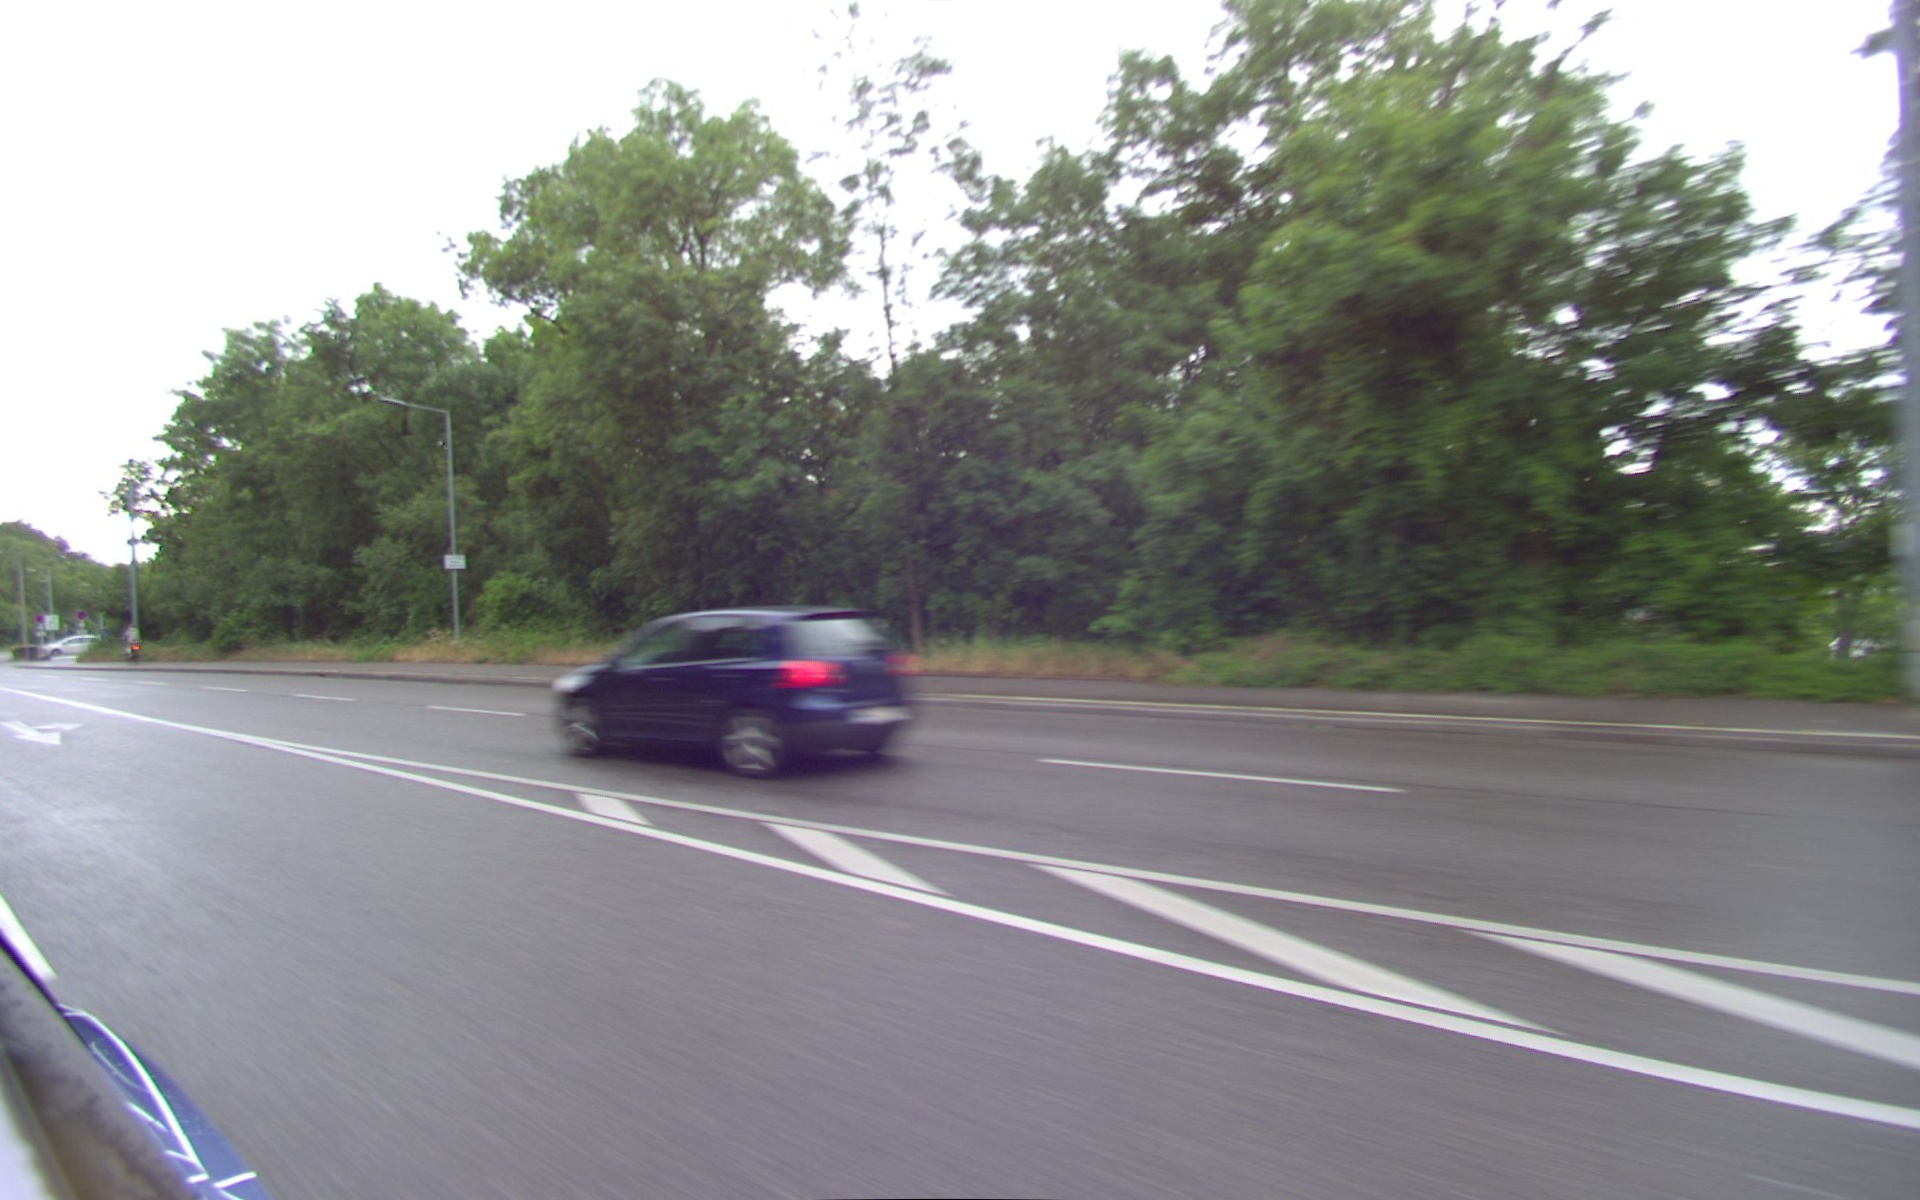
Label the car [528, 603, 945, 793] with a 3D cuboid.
[{"bbox_3d":[-2.289,0.829,9.875,4.071,1.438,1.685,-2,1,37],"label":"car"}]

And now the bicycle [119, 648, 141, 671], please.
[{"bbox_3d":[-37.176,2.663,45.302,2.017,1.011,0.447,-3,0,42],"label":"bicycle"}]

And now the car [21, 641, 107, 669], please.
[{"bbox_3d":[-66.984,4.077,75.689,4.686,1.729,1.896,-2,0,-44],"label":"car"}]

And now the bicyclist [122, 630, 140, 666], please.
[{"bbox_3d":[-37.114,2.139,45.288,0.572,1.598,0.701,1,-2,-42],"label":"bicyclist"}]
